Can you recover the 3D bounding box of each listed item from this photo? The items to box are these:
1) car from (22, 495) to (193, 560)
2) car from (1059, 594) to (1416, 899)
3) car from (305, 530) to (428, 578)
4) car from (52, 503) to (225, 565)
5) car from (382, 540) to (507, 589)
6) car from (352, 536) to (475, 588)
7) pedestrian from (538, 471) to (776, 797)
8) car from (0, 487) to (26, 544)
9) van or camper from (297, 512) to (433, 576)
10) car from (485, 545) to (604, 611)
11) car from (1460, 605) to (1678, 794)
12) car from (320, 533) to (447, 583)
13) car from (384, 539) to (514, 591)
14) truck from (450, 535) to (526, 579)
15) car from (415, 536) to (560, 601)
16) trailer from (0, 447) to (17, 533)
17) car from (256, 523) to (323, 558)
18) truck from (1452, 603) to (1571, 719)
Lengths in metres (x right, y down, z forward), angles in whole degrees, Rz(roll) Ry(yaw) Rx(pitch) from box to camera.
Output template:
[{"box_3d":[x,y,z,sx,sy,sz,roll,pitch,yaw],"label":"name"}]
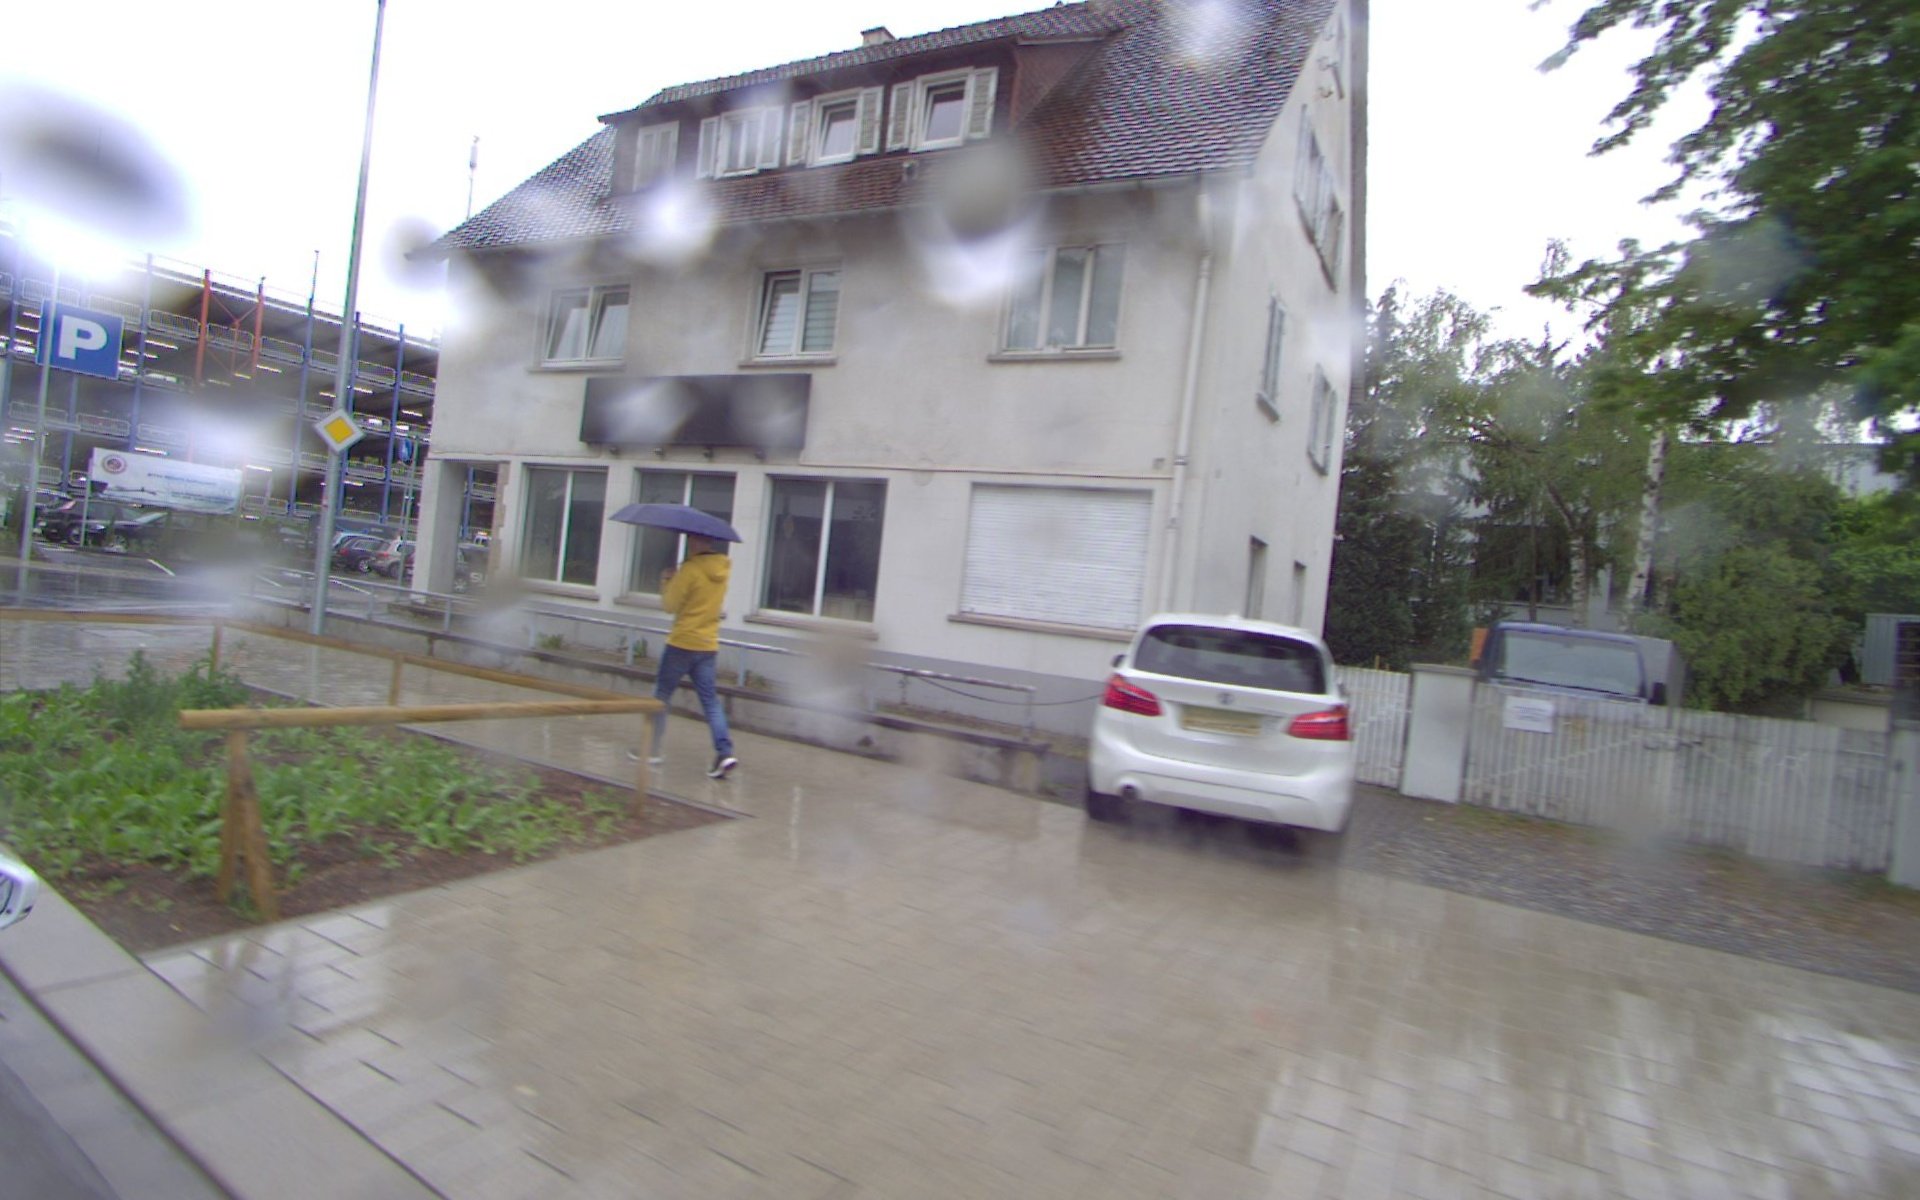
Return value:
[{"box_3d":[-27.307,-2.289,32.350,1.700,1.466,3.735,7,-1,26],"label":"car"},{"box_3d":[2.227,0.916,8.234,1.962,1.601,4.141,7,1,16],"label":"car"},{"box_3d":[-26.885,-2.067,45.673,1.837,1.603,4.351,7,0,38],"label":"car"},{"box_3d":[-25.406,-2.024,31.241,1.663,1.331,3.735,7,-1,26],"label":"car"},{"box_3d":[-21.250,-1.448,41.605,1.837,1.516,4.123,7,0,38],"label":"car"},{"box_3d":[-23.174,-1.586,42.752,1.837,1.688,4.123,7,0,38],"label":"car"},{"box_3d":[-2.111,0.201,7.039,1.174,2.040,0.860,7,2,28],"label":"pedestrian"},{"box_3d":[-28.129,-2.524,27.294,1.622,1.548,3.731,6,0,30],"label":"car"},{"box_3d":[-28.100,-2.611,47.639,2.189,2.355,4.952,7,0,37],"label":"van or camper"},{"box_3d":[-14.654,-0.797,35.409,4.425,1.852,1.885,7,1,39],"label":"car"},{"box_3d":[8.584,1.300,14.666,2.084,2.046,4.850,7,1,26],"label":"car"},{"box_3d":[-25.191,-1.818,44.083,1.837,1.603,4.351,7,0,38],"label":"car"},{"box_3d":[-20.008,-1.348,39.475,1.841,1.516,4.116,7,0,44],"label":"car"},{"box_3d":[-29.406,-2.722,62.584,5.232,2.292,1.995,4,-6,40],"label":"truck"},{"box_3d":[-17.686,-1.149,37.767,4.462,1.851,1.869,6,0,-45],"label":"car"},{"box_3d":[-26.090,-3.017,25.522,1.522,2.197,2.706,7,-1,32],"label":"trailer"},{"box_3d":[-36.674,-3.231,55.004,3.945,1.501,1.893,3,-6,41],"label":"car"},{"box_3d":[11.121,1.328,20.509,1.686,1.856,4.005,6,-5,25],"label":"truck"}]
